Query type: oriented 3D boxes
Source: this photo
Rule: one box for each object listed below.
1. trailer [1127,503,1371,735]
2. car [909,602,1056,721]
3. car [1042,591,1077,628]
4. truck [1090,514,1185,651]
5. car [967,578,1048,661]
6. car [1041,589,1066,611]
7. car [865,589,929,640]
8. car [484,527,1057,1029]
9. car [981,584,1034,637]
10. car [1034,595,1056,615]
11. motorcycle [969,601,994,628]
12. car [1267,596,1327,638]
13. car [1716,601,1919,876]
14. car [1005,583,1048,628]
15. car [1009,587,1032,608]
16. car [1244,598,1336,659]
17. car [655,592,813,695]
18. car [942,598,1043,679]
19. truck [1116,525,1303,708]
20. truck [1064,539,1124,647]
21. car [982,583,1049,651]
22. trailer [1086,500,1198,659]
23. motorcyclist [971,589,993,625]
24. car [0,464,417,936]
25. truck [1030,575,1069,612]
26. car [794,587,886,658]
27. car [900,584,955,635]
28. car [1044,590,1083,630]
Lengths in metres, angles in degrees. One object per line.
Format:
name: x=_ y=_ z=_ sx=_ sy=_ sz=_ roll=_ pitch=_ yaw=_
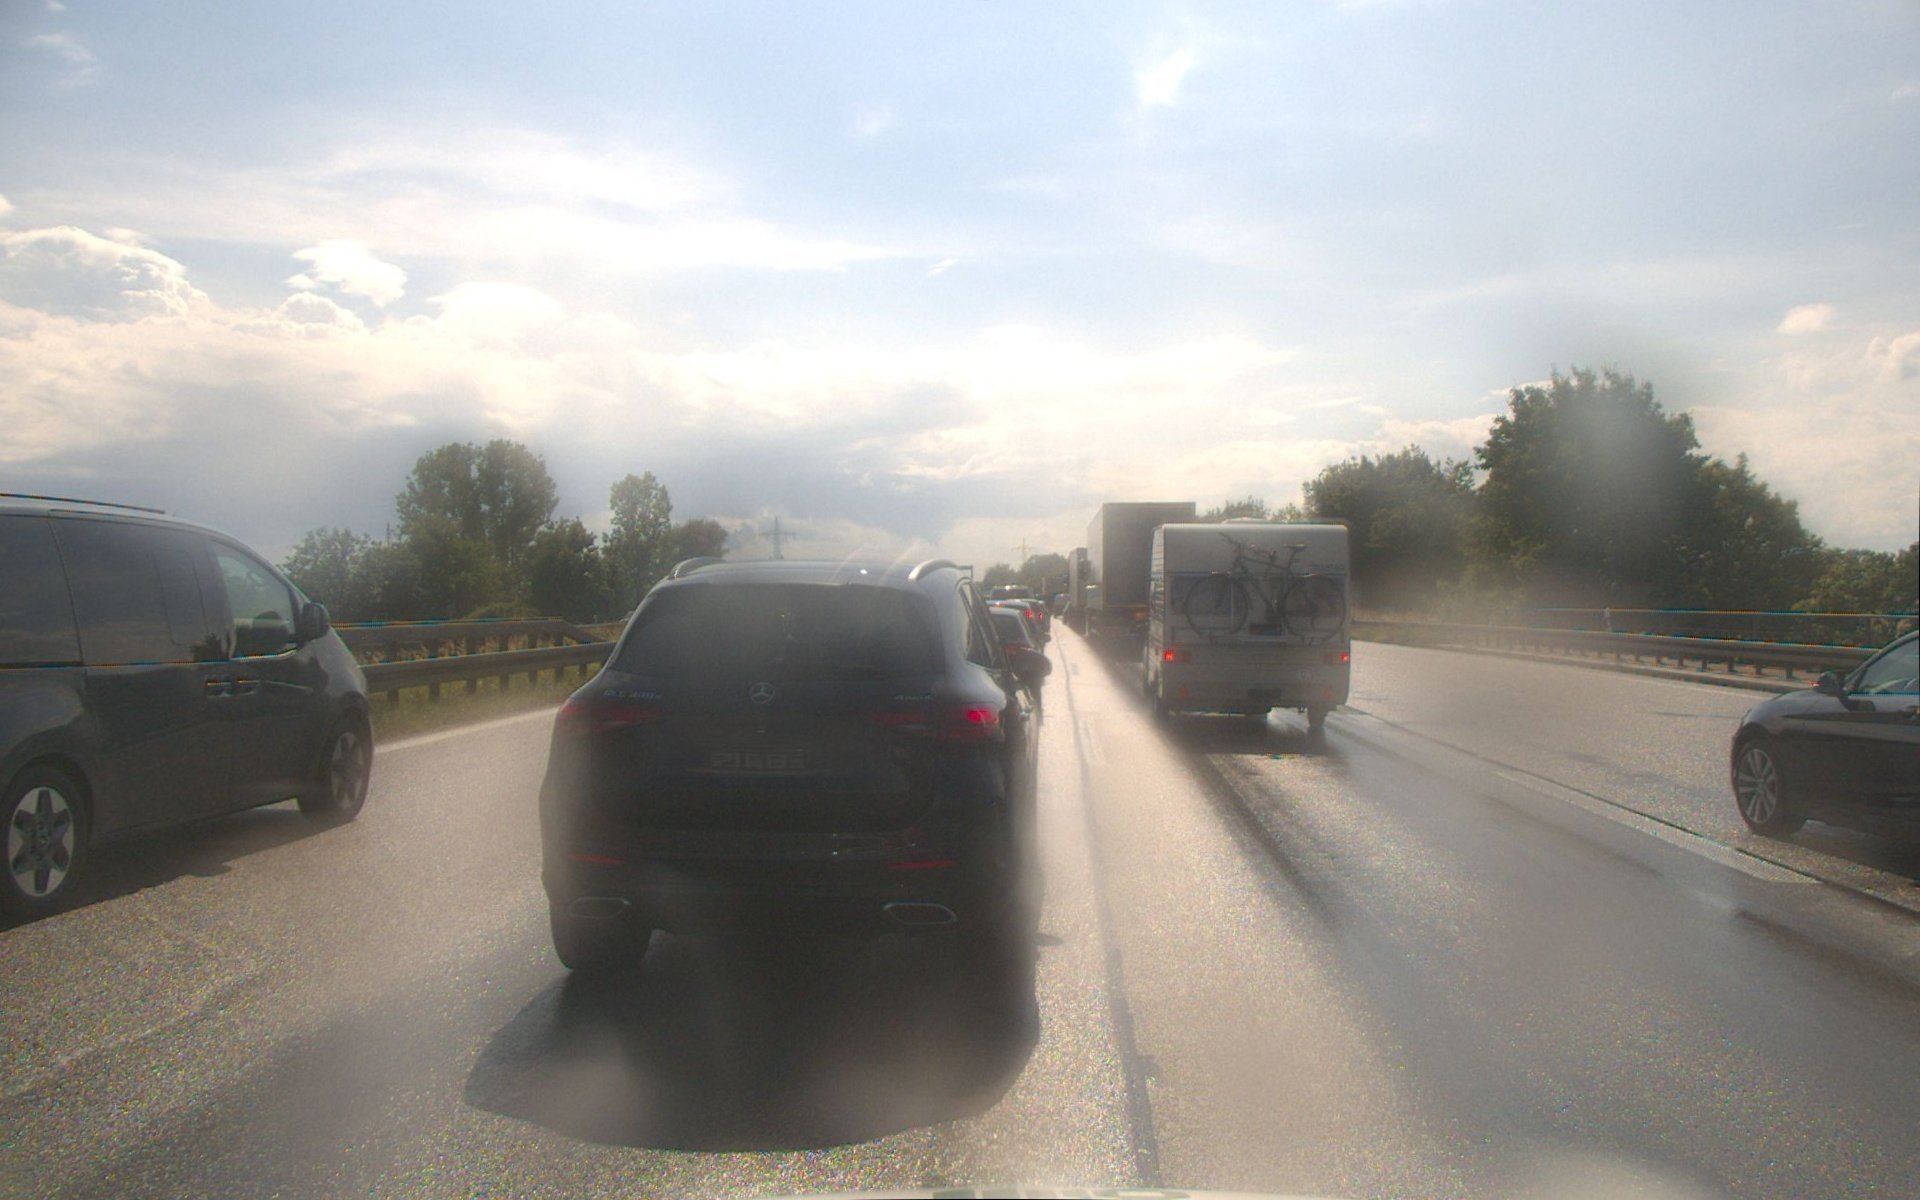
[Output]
trailer: x=3.517 y=0.220 z=21.536 sx=2.324 sy=2.527 sz=6.525 roll=1 pitch=0 yaw=3
car: x=0.378 y=0.737 z=21.760 sx=1.720 sy=1.411 sz=3.947 roll=0 pitch=0 yaw=4
car: x=5.961 y=0.552 z=98.793 sx=1.952 sy=2.048 sz=4.002 roll=4 pitch=0 yaw=4
truck: x=5.755 y=-0.537 z=54.098 sx=2.932 sy=4.239 sz=5.243 roll=0 pitch=0 yaw=5
car: x=1.282 y=0.482 z=43.090 sx=1.952 sy=2.049 sz=4.002 roll=1 pitch=0 yaw=4
car: x=7.631 y=-0.015 z=135.783 sx=1.837 sy=1.791 sz=4.000 roll=1 pitch=0 yaw=0
car: x=-2.331 y=0.521 z=62.059 sx=1.952 sy=1.803 sz=4.002 roll=1 pitch=0 yaw=4
car: x=-0.538 y=0.607 z=7.818 sx=1.952 sy=1.690 sz=4.407 roll=0 pitch=0 yaw=3
car: x=1.912 y=0.407 z=65.828 sx=1.952 sy=2.049 sz=4.002 roll=0 pitch=0 yaw=4
car: x=7.931 y=0.450 z=154.831 sx=1.837 sy=1.791 sz=4.000 roll=1 pitch=0 yaw=0
motorcycle: x=1.066 y=0.719 z=81.160 sx=1.051 sy=1.293 sz=2.691 roll=0 pitch=0 yaw=4
car: x=13.475 y=0.653 z=66.388 sx=1.751 sy=1.641 sz=4.387 roll=0 pitch=0 yaw=3
car: x=6.129 y=0.749 z=9.303 sx=1.810 sy=1.490 sz=4.255 roll=-1 pitch=0 yaw=0
car: x=3.160 y=0.258 z=77.908 sx=1.952 sy=2.049 sz=4.002 roll=0 pitch=0 yaw=4
car: x=5.106 y=-0.216 z=140.796 sx=1.837 sy=1.791 sz=4.000 roll=1 pitch=0 yaw=0
car: x=8.195 y=0.683 z=41.315 sx=1.704 sy=1.445 sz=3.837 roll=0 pitch=0 yaw=3
car: x=-3.583 y=0.645 z=26.929 sx=1.720 sy=1.543 sz=4.211 roll=0 pitch=0 yaw=4
car: x=0.687 y=0.697 z=31.631 sx=1.768 sy=1.432 sz=4.002 roll=1 pitch=0 yaw=3
truck: x=3.744 y=0.233 z=25.942 sx=2.324 sy=2.520 sz=5.758 roll=1 pitch=0 yaw=3
truck: x=6.393 y=-0.294 z=79.674 sx=2.450 sy=4.914 sz=7.545 roll=1 pitch=0 yaw=2
car: x=1.878 y=0.532 z=54.739 sx=1.952 sy=2.048 sz=4.002 roll=4 pitch=0 yaw=4
trailer: x=5.254 y=-0.541 z=48.462 sx=2.943 sy=4.239 sz=8.541 roll=0 pitch=0 yaw=5
motorcyclist: x=1.069 y=0.329 z=81.152 sx=1.041 sy=1.748 sz=0.785 roll=0 pitch=0 yaw=3
car: x=-5.011 y=0.431 z=9.170 sx=1.951 sy=2.049 sz=5.272 roll=0 pitch=0 yaw=4
truck: x=10.518 y=-0.724 z=195.202 sx=3.765 sy=4.087 sz=11.219 roll=1 pitch=0 yaw=-1
car: x=-3.071 y=0.569 z=43.044 sx=1.952 sy=1.750 sz=4.001 roll=1 pitch=0 yaw=2
car: x=-1.381 y=0.400 z=71.714 sx=1.952 sy=2.048 sz=4.002 roll=4 pitch=0 yaw=4
car: x=5.552 y=0.520 z=88.530 sx=1.952 sy=2.049 sz=4.002 roll=2 pitch=0 yaw=4
